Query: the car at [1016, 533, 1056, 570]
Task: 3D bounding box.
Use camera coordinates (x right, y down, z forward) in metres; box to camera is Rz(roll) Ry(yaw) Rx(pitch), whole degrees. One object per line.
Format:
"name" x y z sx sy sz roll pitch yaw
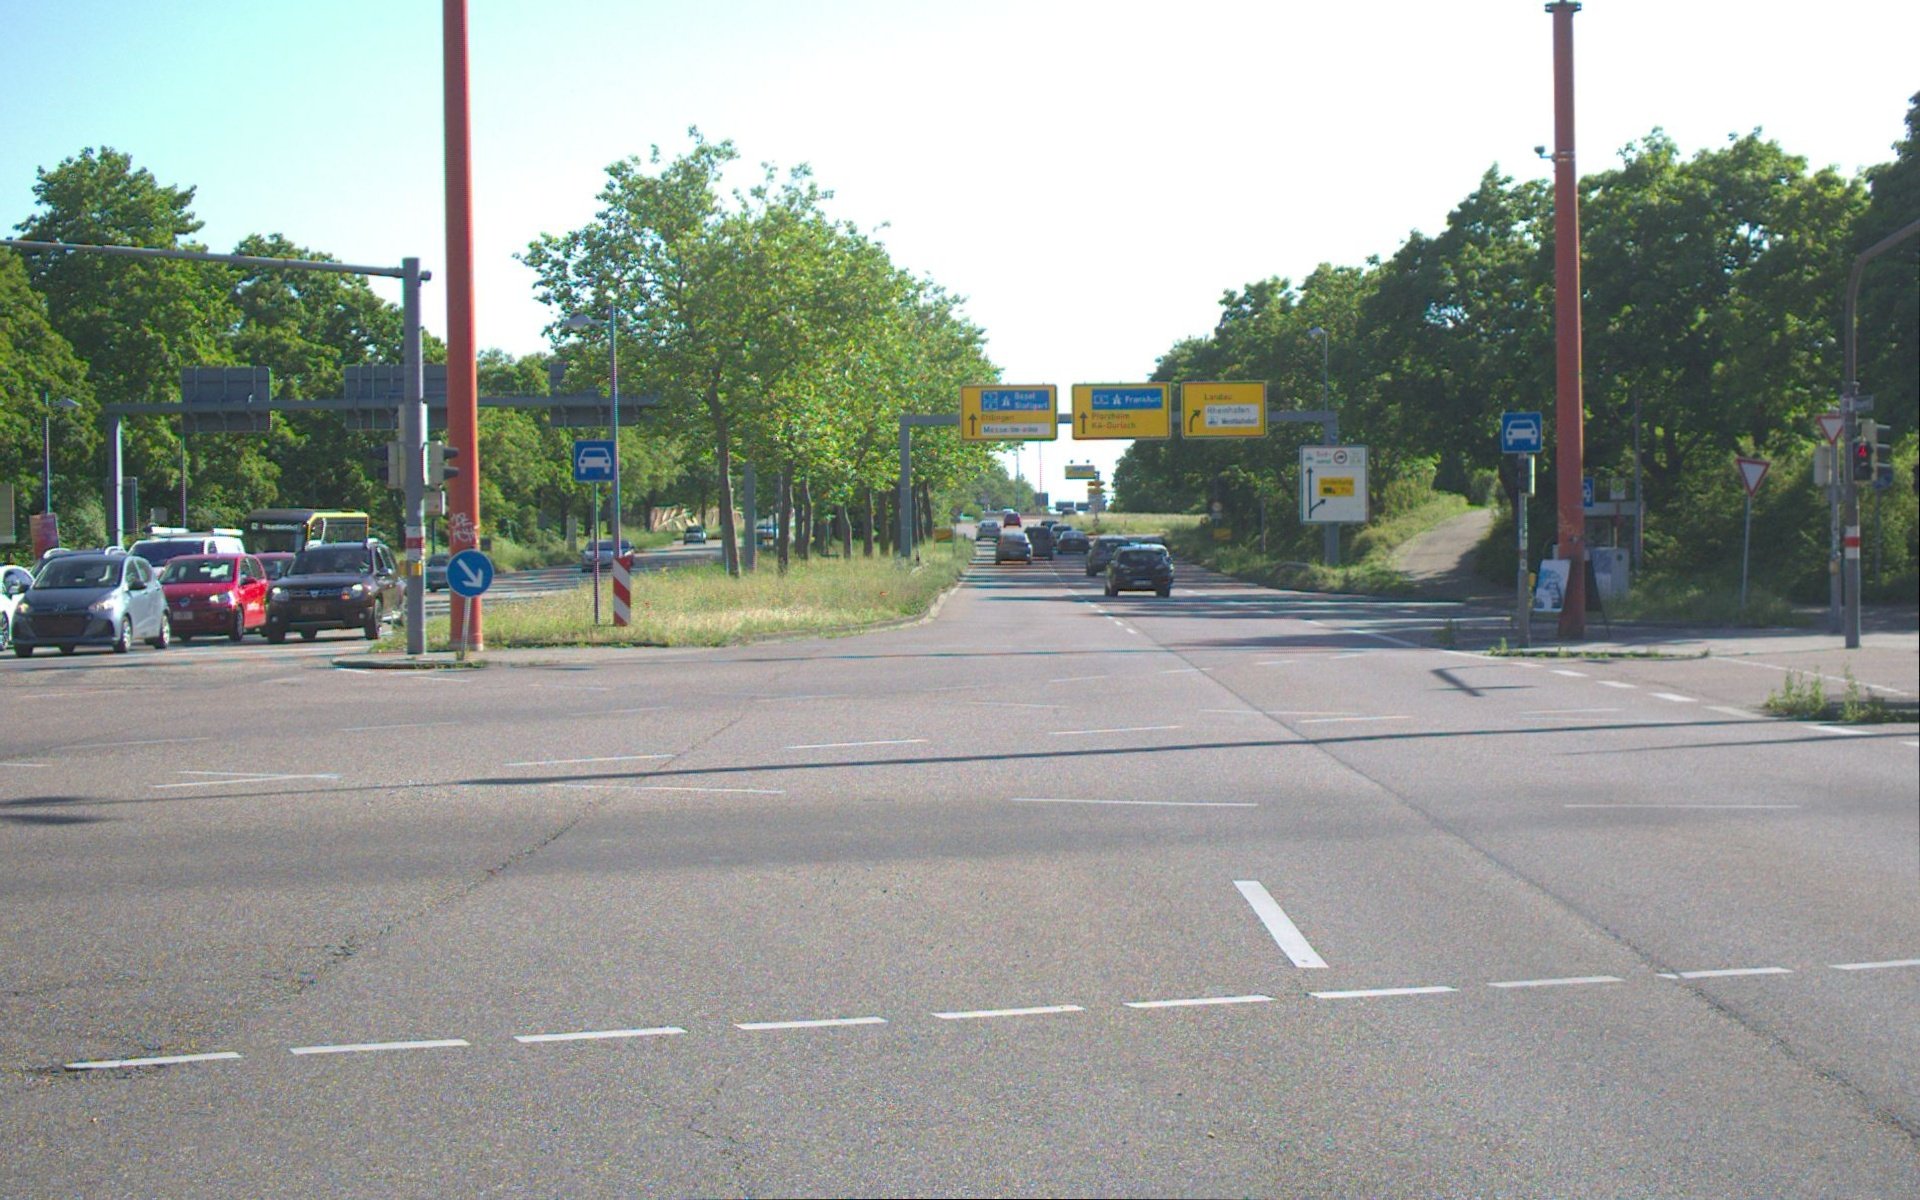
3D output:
"car" 4.138 -2.638 187.332 1.993 2.007 4.000 -1 1 -1

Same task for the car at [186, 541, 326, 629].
"car" -13.116 -0.299 64.257 1.993 1.568 4.121 -1 1 -4

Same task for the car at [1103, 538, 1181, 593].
"car" 5.328 -1.022 101.205 2.159 1.568 4.281 -1 1 1

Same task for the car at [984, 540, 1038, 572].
"car" 2.540 -2.204 171.185 2.245 1.568 4.282 -1 1 -5

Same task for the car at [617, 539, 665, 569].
"car" -17.424 -2.514 187.975 1.994 1.568 4.120 0 1 4

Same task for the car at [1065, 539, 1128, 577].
"car" 5.722 -1.787 144.676 2.158 1.568 4.281 -1 1 -4

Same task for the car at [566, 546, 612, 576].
"car" -18.586 -1.954 172.309 1.884 1.449 3.656 -1 1 0

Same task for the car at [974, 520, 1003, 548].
"car" 2.078 -4.847 251.759 1.993 2.007 4.000 -1 1 -1

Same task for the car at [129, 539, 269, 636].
"car" -12.899 -0.238 58.478 1.993 1.568 4.122 -1 1 -8

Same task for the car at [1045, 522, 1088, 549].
"car" 6.322 -3.808 204.400 2.158 1.568 4.281 -1 1 -4

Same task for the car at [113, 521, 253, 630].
"car" -16.114 -0.531 71.518 2.062 2.185 4.379 -1 1 -2

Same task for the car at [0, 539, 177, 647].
"car" -13.253 -0.135 52.176 1.993 1.568 4.121 -1 1 -3

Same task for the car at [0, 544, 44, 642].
"car" -16.488 -0.121 57.046 1.993 1.568 4.122 -2 1 -8

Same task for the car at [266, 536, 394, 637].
"car" -10.247 -0.247 56.157 1.876 1.568 4.122 -1 1 -8
